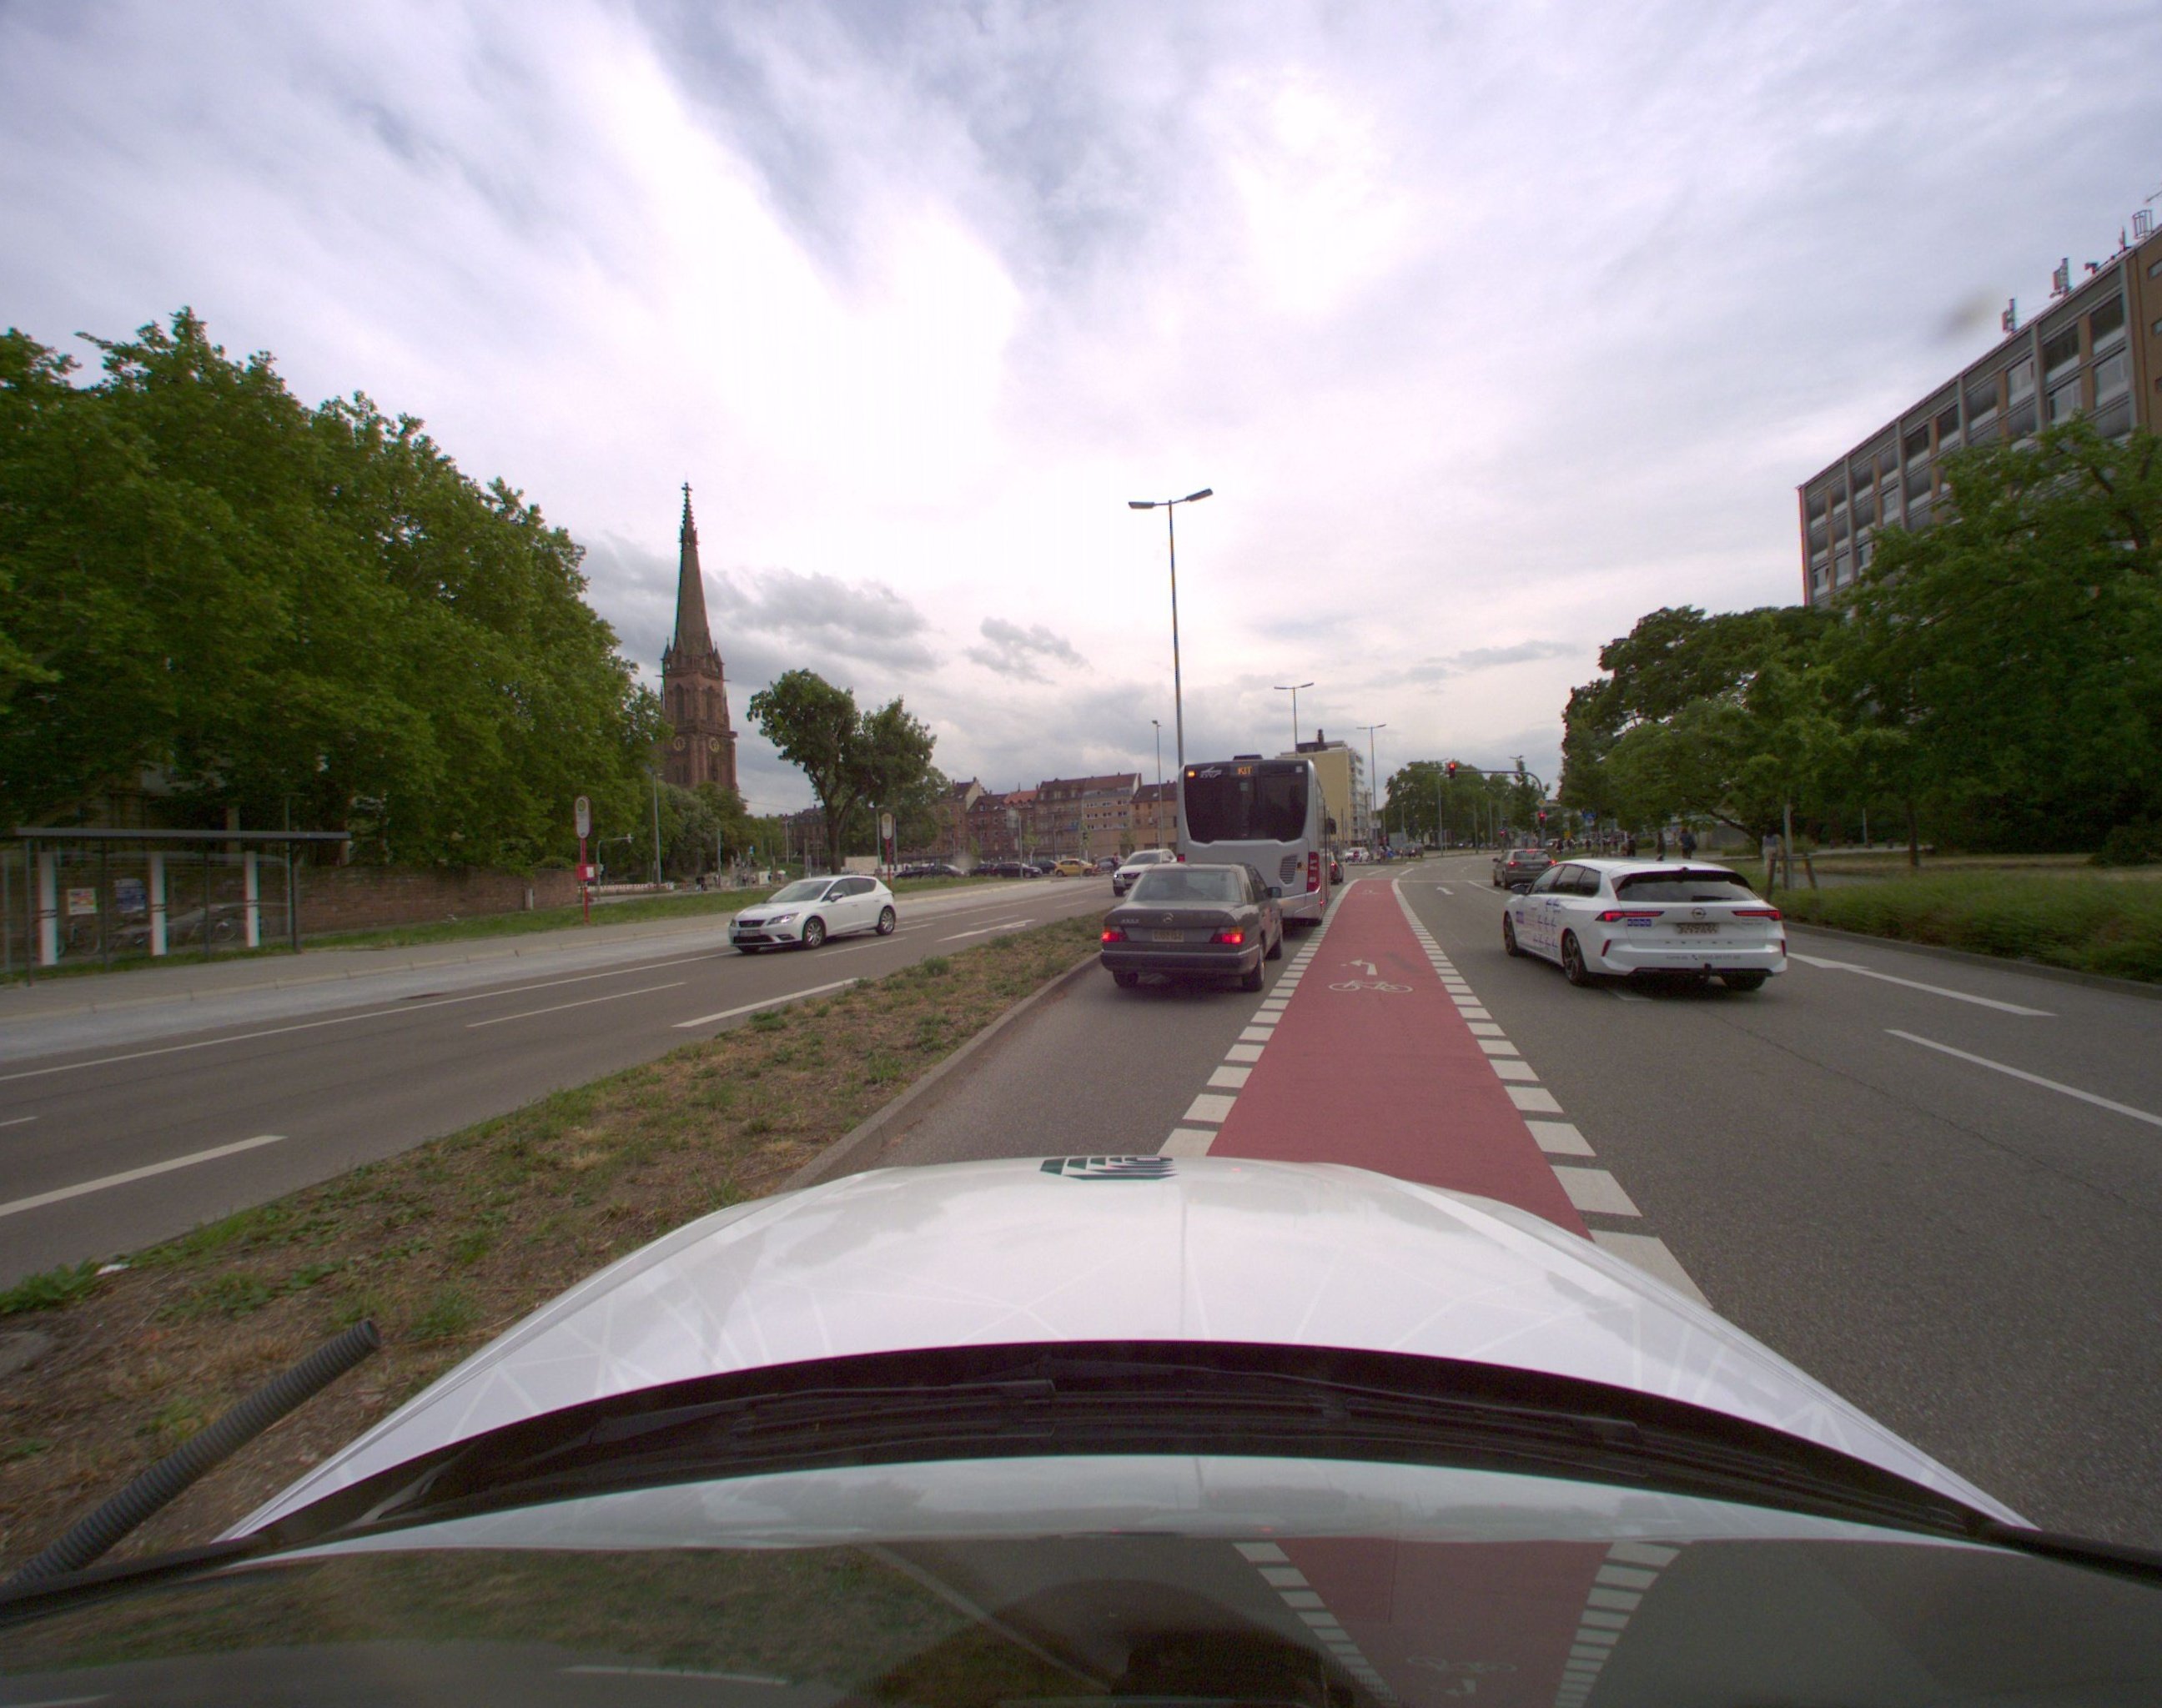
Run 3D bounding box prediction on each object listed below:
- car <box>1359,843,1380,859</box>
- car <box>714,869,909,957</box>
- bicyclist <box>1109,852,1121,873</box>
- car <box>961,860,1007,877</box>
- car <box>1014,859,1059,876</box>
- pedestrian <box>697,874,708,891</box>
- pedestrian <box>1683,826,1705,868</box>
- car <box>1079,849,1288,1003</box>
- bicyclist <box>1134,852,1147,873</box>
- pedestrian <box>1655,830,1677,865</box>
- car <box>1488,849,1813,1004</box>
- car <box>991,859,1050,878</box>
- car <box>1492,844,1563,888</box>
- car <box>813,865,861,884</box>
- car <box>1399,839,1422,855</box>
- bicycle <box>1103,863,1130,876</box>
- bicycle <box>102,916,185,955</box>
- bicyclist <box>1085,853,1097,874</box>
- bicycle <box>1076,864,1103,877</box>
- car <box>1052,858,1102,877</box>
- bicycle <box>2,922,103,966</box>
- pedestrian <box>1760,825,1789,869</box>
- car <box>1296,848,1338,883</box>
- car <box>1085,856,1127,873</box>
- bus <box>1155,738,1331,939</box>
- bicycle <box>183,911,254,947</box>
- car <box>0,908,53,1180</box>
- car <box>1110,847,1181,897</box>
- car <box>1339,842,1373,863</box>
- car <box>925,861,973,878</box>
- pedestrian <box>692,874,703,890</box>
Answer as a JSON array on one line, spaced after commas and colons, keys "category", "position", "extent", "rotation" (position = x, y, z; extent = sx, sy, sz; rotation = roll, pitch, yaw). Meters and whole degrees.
[{"category": "car", "position": [35.922, -0.436, 101.362], "extent": [1.789, 1.850, 4.025], "rotation": [-3, 0, 29]}, {"category": "car", "position": [-5.630, 1.183, 17.625], "extent": [1.682, 1.443, 4.196], "rotation": [-5, -1, 19]}, {"category": "bicyclist", "position": [2.687, 0.696, 64.467], "extent": [0.780, 1.643, 0.575], "rotation": [-3, -1, 18]}, {"category": "car", "position": [-8.847, 1.329, 74.388], "extent": [3.736, 1.394, 1.591], "rotation": [-1, 0, 14]}, {"category": "car", "position": [-4.016, 1.230, 73.324], "extent": [3.736, 1.394, 1.591], "rotation": [-1, 0, 14]}, {"category": "pedestrian", "position": [-37.564, 2.815, 80.824], "extent": [0.557, 1.560, 0.728], "rotation": [-3, 0, 13]}, {"category": "pedestrian", "position": [25.879, -0.287, 34.405], "extent": [0.640, 1.713, 0.565], "rotation": [-3, -1, 34]}, {"category": "car", "position": [1.515, 0.736, 10.271], "extent": [1.747, 1.489, 4.191], "rotation": [-2, 0, 19]}, {"category": "bicyclist", "position": [4.658, 0.655, 63.501], "extent": [0.780, 1.643, 0.616], "rotation": [-3, -1, 16]}, {"category": "pedestrian", "position": [29.481, -0.345, 41.074], "extent": [0.794, 1.713, 0.770], "rotation": [-3, -1, 32]}, {"category": "car", "position": [6.619, 0.705, 10.187], "extent": [1.727, 1.439, 4.801], "rotation": [-2, 0, 15]}, {"category": "car", "position": [-5.119, 1.218, 68.809], "extent": [4.635, 1.475, 1.667], "rotation": [-1, 0, 14]}, {"category": "car", "position": [16.145, 0.403, 29.602], "extent": [1.710, 1.457, 3.755], "rotation": [-2, 0, 20]}, {"category": "car", "position": [-23.807, 1.978, 79.477], "extent": [4.125, 1.649, 1.653], "rotation": [-3, 0, 13]}, {"category": "car", "position": [44.968, -0.916, 111.255], "extent": [1.974, 2.013, 4.026], "rotation": [-3, 0, 35]}, {"category": "bicycle", "position": [2.828, 1.232, 64.435], "extent": [1.948, 0.982, 0.634], "rotation": [-3, 0, 18]}, {"category": "bicycle", "position": [-25.418, 2.202, 22.119], "extent": [0.480, 0.907, 1.618], "rotation": [0, 0, -5]}, {"category": "bicyclist", "position": [0.798, 0.763, 65.187], "extent": [0.781, 1.643, 0.574], "rotation": [-3, -1, 14]}, {"category": "bicycle", "position": [0.687, 1.305, 65.225], "extent": [1.950, 0.982, 0.633], "rotation": [-3, 0, 14]}, {"category": "car", "position": [-0.292, 1.102, 67.966], "extent": [3.829, 1.517, 1.667], "rotation": [-1, 0, 14]}, {"category": "bicycle", "position": [-25.133, 2.190, 19.944], "extent": [0.480, 0.907, 1.618], "rotation": [0, 0, -5]}, {"category": "pedestrian", "position": [23.700, -0.228, 27.822], "extent": [0.650, 1.470, 0.565], "rotation": [-3, -1, 36]}, {"category": "car", "position": [10.474, 0.495, 36.163], "extent": [1.642, 1.396, 3.877], "rotation": [-2, 0, 17]}, {"category": "car", "position": [2.226, 0.898, 72.207], "extent": [3.659, 1.394, 1.585], "rotation": [-1, 0, 1]}, {"category": "bus", "position": [3.983, -0.271, 18.135], "extent": [2.809, 3.390, 8.220], "rotation": [-2, 0, 18]}, {"category": "bicycle", "position": [-25.515, 2.210, 24.123], "extent": [0.480, 0.907, 1.618], "rotation": [0, 0, -5]}, {"category": "car", "position": [-7.507, 1.134, 2.899], "extent": [1.740, 1.489, 4.399], "rotation": [-4, -1, 20]}, {"category": "car", "position": [2.604, 0.648, 31.842], "extent": [1.767, 1.730, 4.393], "rotation": [-3, 0, 17]}, {"category": "car", "position": [31.369, -0.205, 92.822], "extent": [2.558, 2.109, 5.636], "rotation": [-3, 0, 30]}, {"category": "car", "position": [-11.452, 1.372, 70.572], "extent": [3.736, 1.394, 1.591], "rotation": [-1, 0, 14]}, {"category": "pedestrian", "position": [-38.377, 2.833, 81.482], "extent": [0.557, 1.560, 0.728], "rotation": [-3, 0, 13]}]
